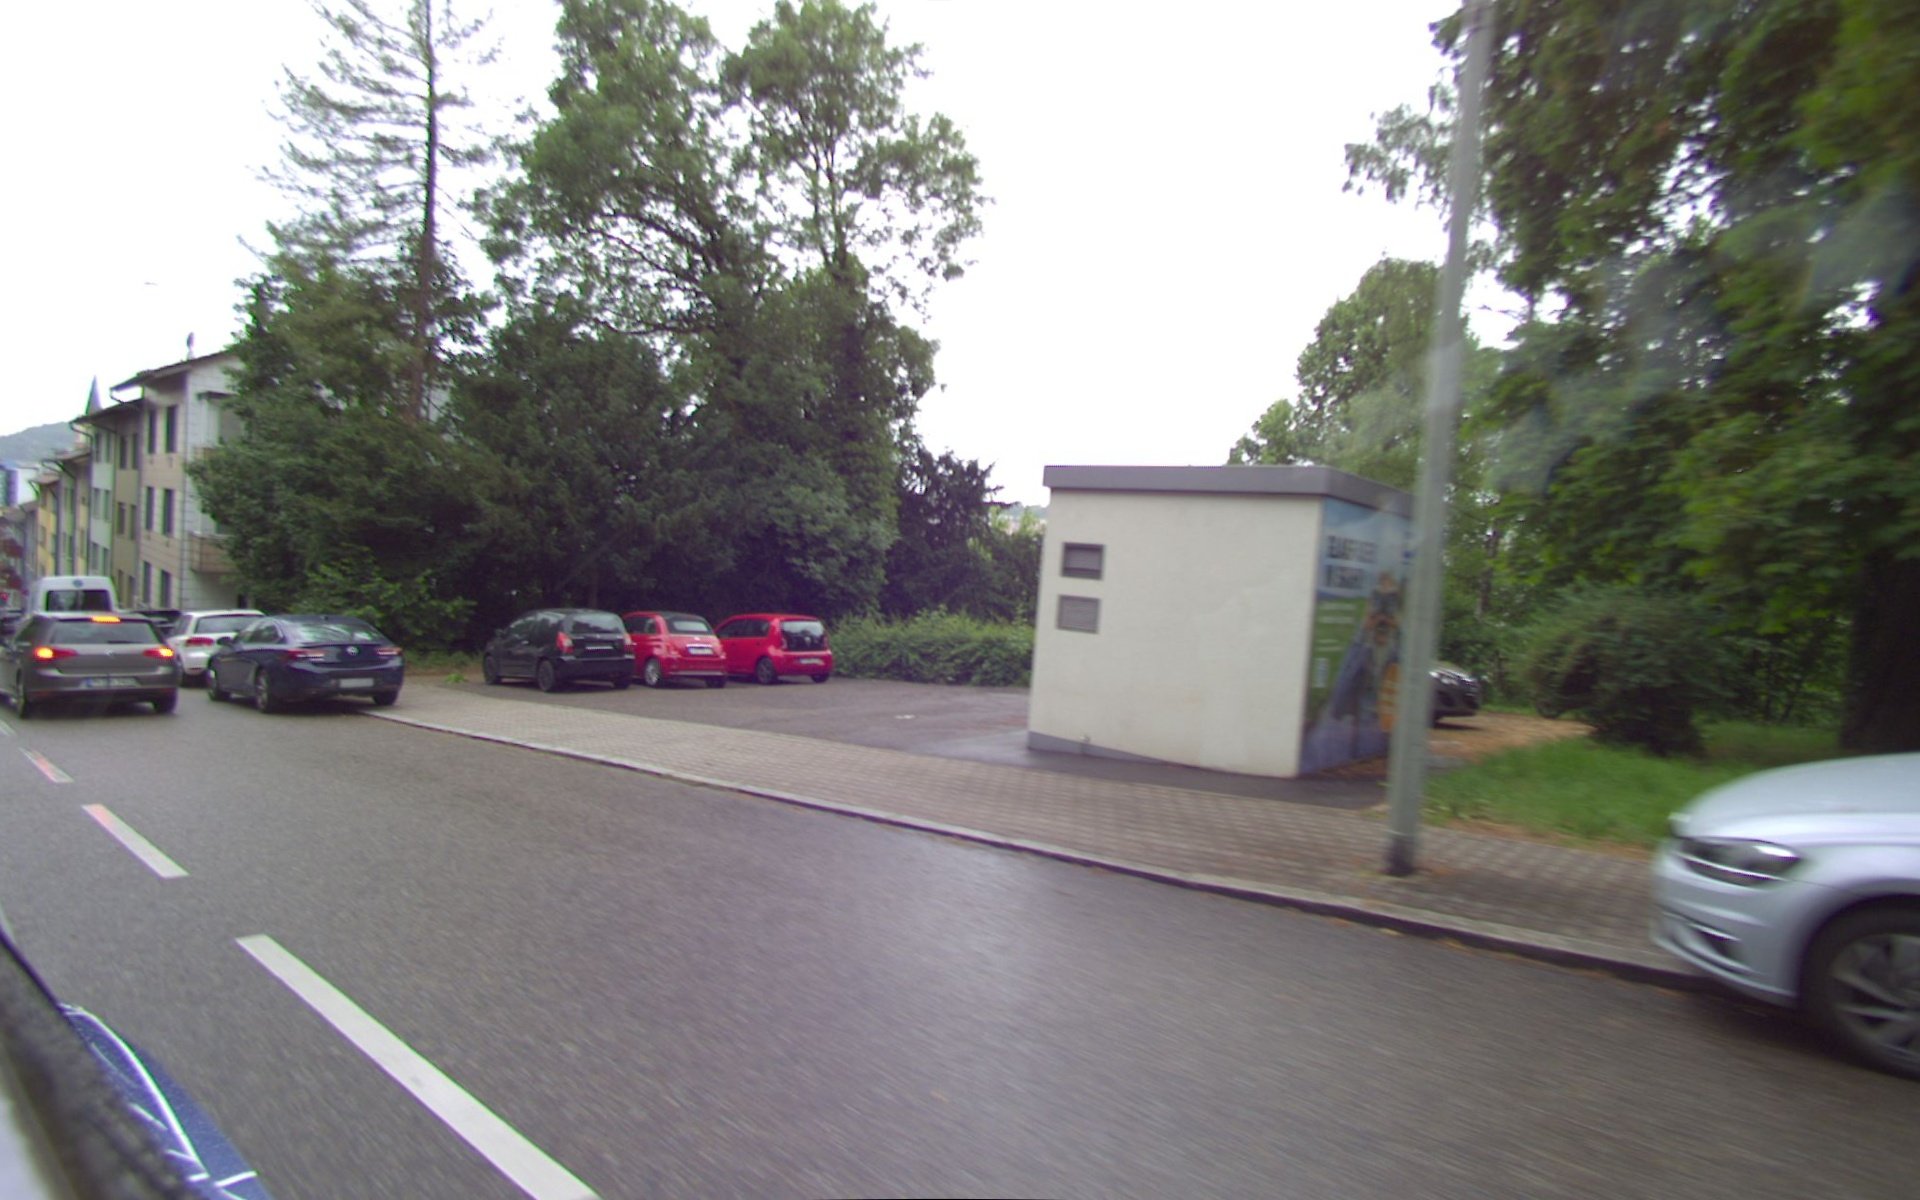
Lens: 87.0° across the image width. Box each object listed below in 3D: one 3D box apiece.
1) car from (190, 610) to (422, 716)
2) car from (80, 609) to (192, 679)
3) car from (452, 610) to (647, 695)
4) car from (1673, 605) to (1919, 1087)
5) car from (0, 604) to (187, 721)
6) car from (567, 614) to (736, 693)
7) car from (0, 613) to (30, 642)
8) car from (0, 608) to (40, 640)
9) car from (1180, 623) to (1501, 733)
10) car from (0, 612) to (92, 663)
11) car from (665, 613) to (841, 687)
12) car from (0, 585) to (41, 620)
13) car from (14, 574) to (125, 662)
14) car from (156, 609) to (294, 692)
[{"bbox_3d":[-10.784,0.980,16.550,4.753,1.505,1.840,-1,-5,41],"label":"car"},{"bbox_3d":[-20.628,1.075,25.282,4.187,1.616,1.626,-1,-4,44],"label":"car"},{"bbox_3d":[-7.982,0.941,19.492,4.395,1.470,1.704,-1,-2,42],"label":"car"},{"bbox_3d":[4.942,0.869,3.187,4.238,1.624,1.866,-1,-4,42],"label":"car"},{"bbox_3d":[-13.048,0.858,14.978,3.998,1.502,1.742,-1,-3,41],"label":"car"},{"bbox_3d":[-6.382,1.027,20.765,3.773,1.470,1.604,-1,-2,42],"label":"car"},{"bbox_3d":[-55.398,1.560,58.820,4.056,1.606,1.664,-1,-3,44],"label":"car"},{"bbox_3d":[-49.998,1.254,53.483,4.000,1.606,1.673,-1,-3,43],"label":"car"},{"bbox_3d":[5.901,1.121,15.950,4.391,1.470,1.926,-1,-2,38],"label":"car"},{"bbox_3d":[-33.553,1.355,37.093,4.884,1.753,1.945,-1,-4,42],"label":"car"},{"bbox_3d":[-4.624,1.041,22.244,4.241,1.470,1.578,-1,-2,42],"label":"car"},{"bbox_3d":[-73.986,0.246,79.497,5.445,2.570,2.093,-1,-4,44],"label":"car"},{"bbox_3d":[-28.710,0.615,32.572,5.445,2.570,2.093,-1,-4,44],"label":"car"},{"bbox_3d":[-15.428,1.007,21.162,4.150,1.581,1.637,-1,-3,44],"label":"car"}]
